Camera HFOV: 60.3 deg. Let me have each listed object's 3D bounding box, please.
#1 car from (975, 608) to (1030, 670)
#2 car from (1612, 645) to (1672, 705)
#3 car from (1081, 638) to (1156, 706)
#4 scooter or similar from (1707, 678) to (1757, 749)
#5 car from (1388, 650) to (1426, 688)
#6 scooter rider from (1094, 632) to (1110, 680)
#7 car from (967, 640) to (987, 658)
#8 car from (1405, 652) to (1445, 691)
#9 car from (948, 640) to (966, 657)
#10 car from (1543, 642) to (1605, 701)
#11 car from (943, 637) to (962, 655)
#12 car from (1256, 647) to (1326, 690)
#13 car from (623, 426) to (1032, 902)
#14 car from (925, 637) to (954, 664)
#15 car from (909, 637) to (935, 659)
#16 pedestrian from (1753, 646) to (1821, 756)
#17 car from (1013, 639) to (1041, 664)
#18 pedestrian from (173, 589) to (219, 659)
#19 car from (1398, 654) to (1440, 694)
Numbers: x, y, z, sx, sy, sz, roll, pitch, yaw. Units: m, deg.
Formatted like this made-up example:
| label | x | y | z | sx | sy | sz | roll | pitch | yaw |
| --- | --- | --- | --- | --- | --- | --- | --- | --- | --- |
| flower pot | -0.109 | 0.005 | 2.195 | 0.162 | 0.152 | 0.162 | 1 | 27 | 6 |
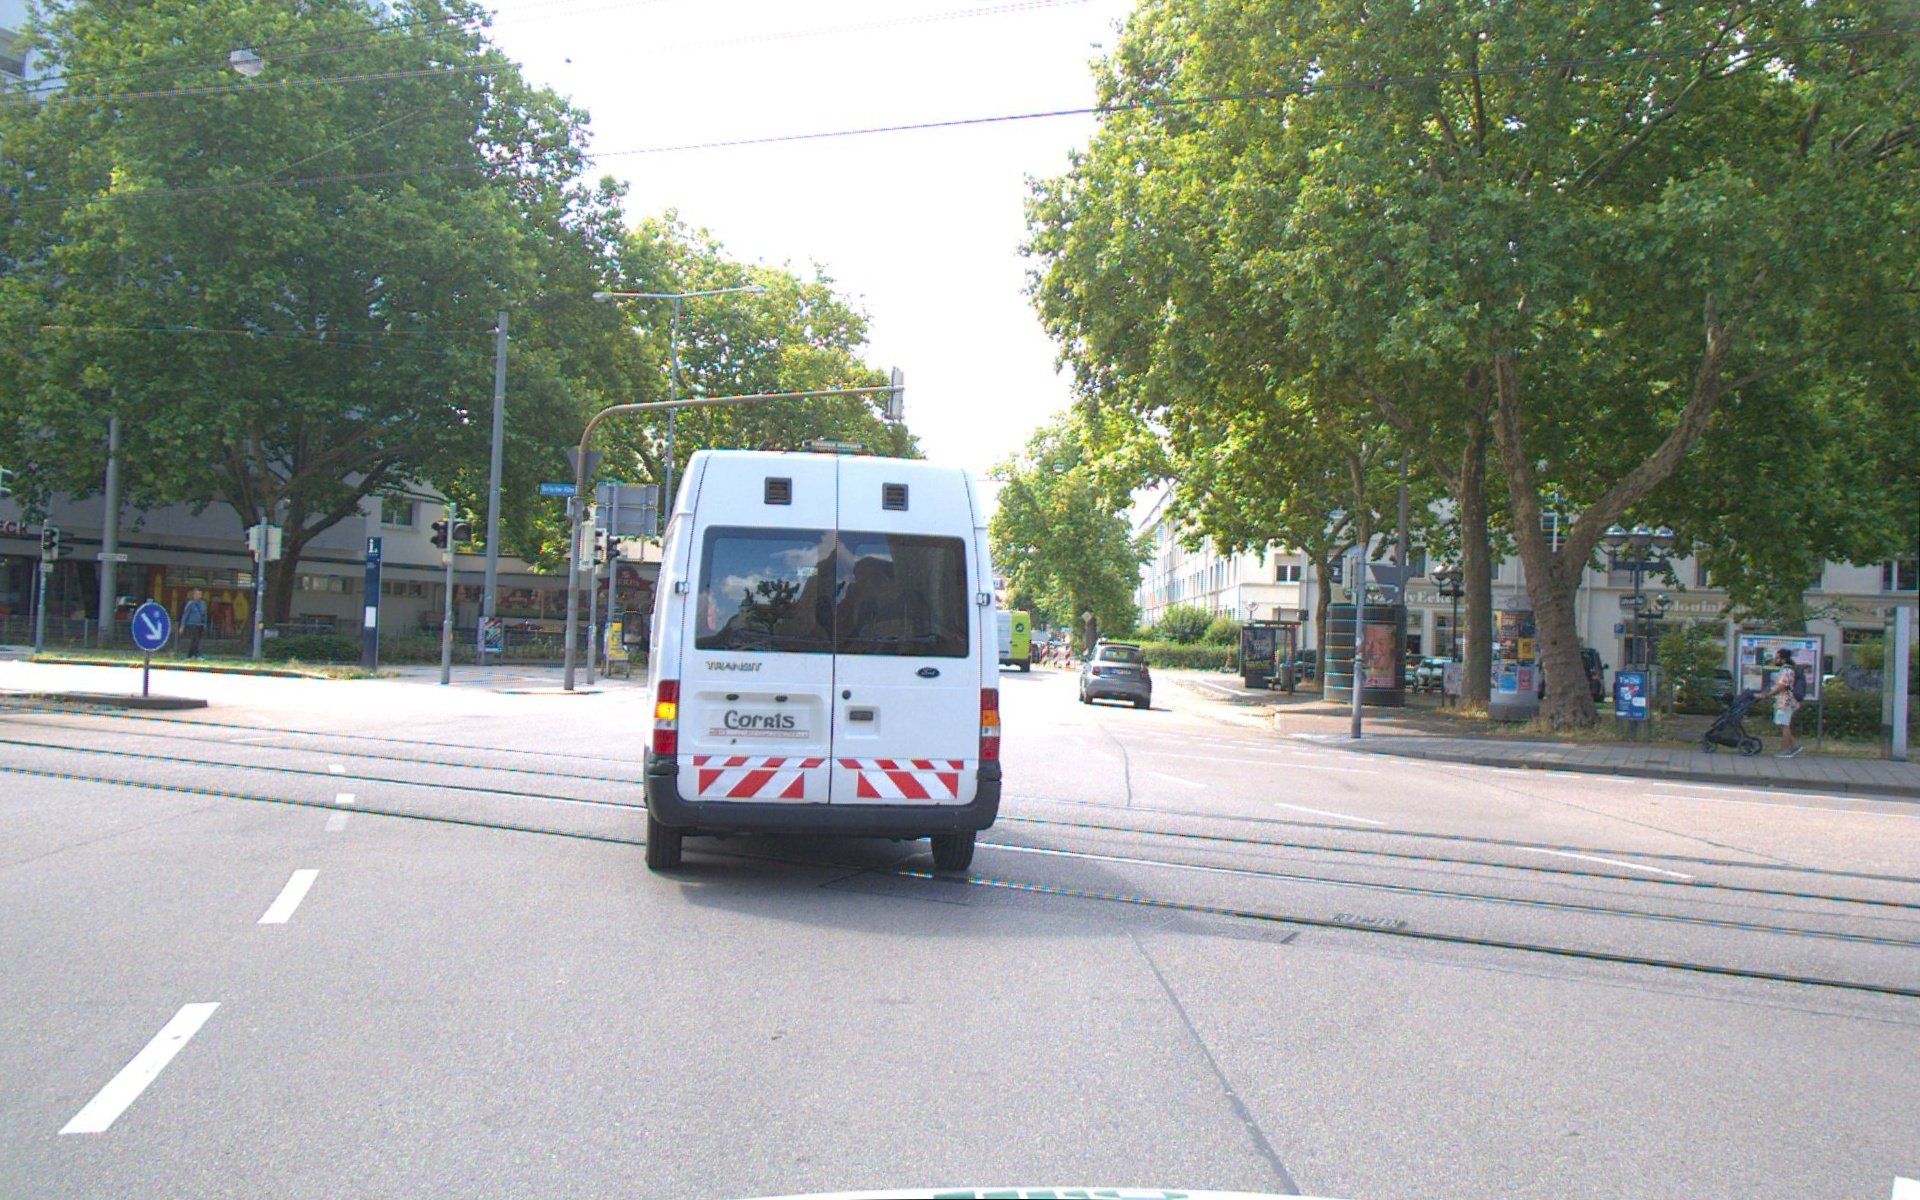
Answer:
| label | x | y | z | sx | sy | sz | roll | pitch | yaw |
| --- | --- | --- | --- | --- | --- | --- | --- | --- | --- |
| car | 1.903 | 1.770 | 76.429 | 2.077 | 2.687 | 6.325 | 2 | -1 | -2 |
| car | 25.810 | 2.815 | 62.538 | 1.954 | 2.112 | 3.997 | 2 | -2 | 24 |
| car | 3.995 | 1.791 | 42.072 | 1.656 | 1.565 | 3.469 | 2 | -1 | 2 |
| scooter or similar | 12.362 | 1.812 | 26.495 | 0.692 | 1.075 | 0.490 | 2 | -1 | 25 |
| car | 20.868 | 3.215 | 77.183 | 1.435 | 1.695 | 3.067 | 2 | -2 | 19 |
| scooter rider | 5.589 | 2.196 | 65.023 | 0.515 | 1.844 | 0.649 | 2 | -1 | -1 |
| car | 1.746 | 4.977 | 168.165 | 1.823 | 1.690 | 3.750 | 2 | -1 | 3 |
| car | 18.493 | 2.833 | 65.657 | 1.434 | 1.413 | 3.237 | 2 | -2 | 17 |
| car | -0.297 | 5.070 | 174.494 | 1.665 | 1.690 | 3.750 | 2 | -1 | 3 |
| car | 23.742 | 2.766 | 63.859 | 1.954 | 2.112 | 3.997 | 2 | -2 | 24 |
| car | -0.781 | 4.630 | 167.810 | 1.625 | 1.690 | 3.750 | 2 | -1 | 3 |
| car | 13.676 | 2.809 | 68.108 | 1.986 | 1.628 | 4.537 | 2 | -2 | 22 |
| car | -1.048 | 0.374 | 10.811 | 2.010 | 2.374 | 4.703 | 2 | -1 | -10 |
| car | -1.374 | 3.429 | 113.346 | 1.749 | 1.690 | 4.316 | 2 | -1 | 2 |
| car | -3.056 | 3.884 | 133.756 | 1.693 | 1.690 | 3.750 | 2 | -1 | 3 |
| pedestrian | 13.062 | 1.583 | 26.135 | 0.902 | 1.674 | 0.570 | 2 | -1 | 25 |
| car | 4.373 | 3.380 | 108.511 | 1.689 | 1.582 | 3.633 | 2 | -2 | 1 |
| pedestrian | -18.086 | 0.576 | 39.147 | 0.766 | 1.627 | 0.535 | 2 | -1 | 21 |
| car | 17.193 | 2.769 | 62.072 | 1.434 | 1.413 | 3.069 | 2 | -2 | 15 |
